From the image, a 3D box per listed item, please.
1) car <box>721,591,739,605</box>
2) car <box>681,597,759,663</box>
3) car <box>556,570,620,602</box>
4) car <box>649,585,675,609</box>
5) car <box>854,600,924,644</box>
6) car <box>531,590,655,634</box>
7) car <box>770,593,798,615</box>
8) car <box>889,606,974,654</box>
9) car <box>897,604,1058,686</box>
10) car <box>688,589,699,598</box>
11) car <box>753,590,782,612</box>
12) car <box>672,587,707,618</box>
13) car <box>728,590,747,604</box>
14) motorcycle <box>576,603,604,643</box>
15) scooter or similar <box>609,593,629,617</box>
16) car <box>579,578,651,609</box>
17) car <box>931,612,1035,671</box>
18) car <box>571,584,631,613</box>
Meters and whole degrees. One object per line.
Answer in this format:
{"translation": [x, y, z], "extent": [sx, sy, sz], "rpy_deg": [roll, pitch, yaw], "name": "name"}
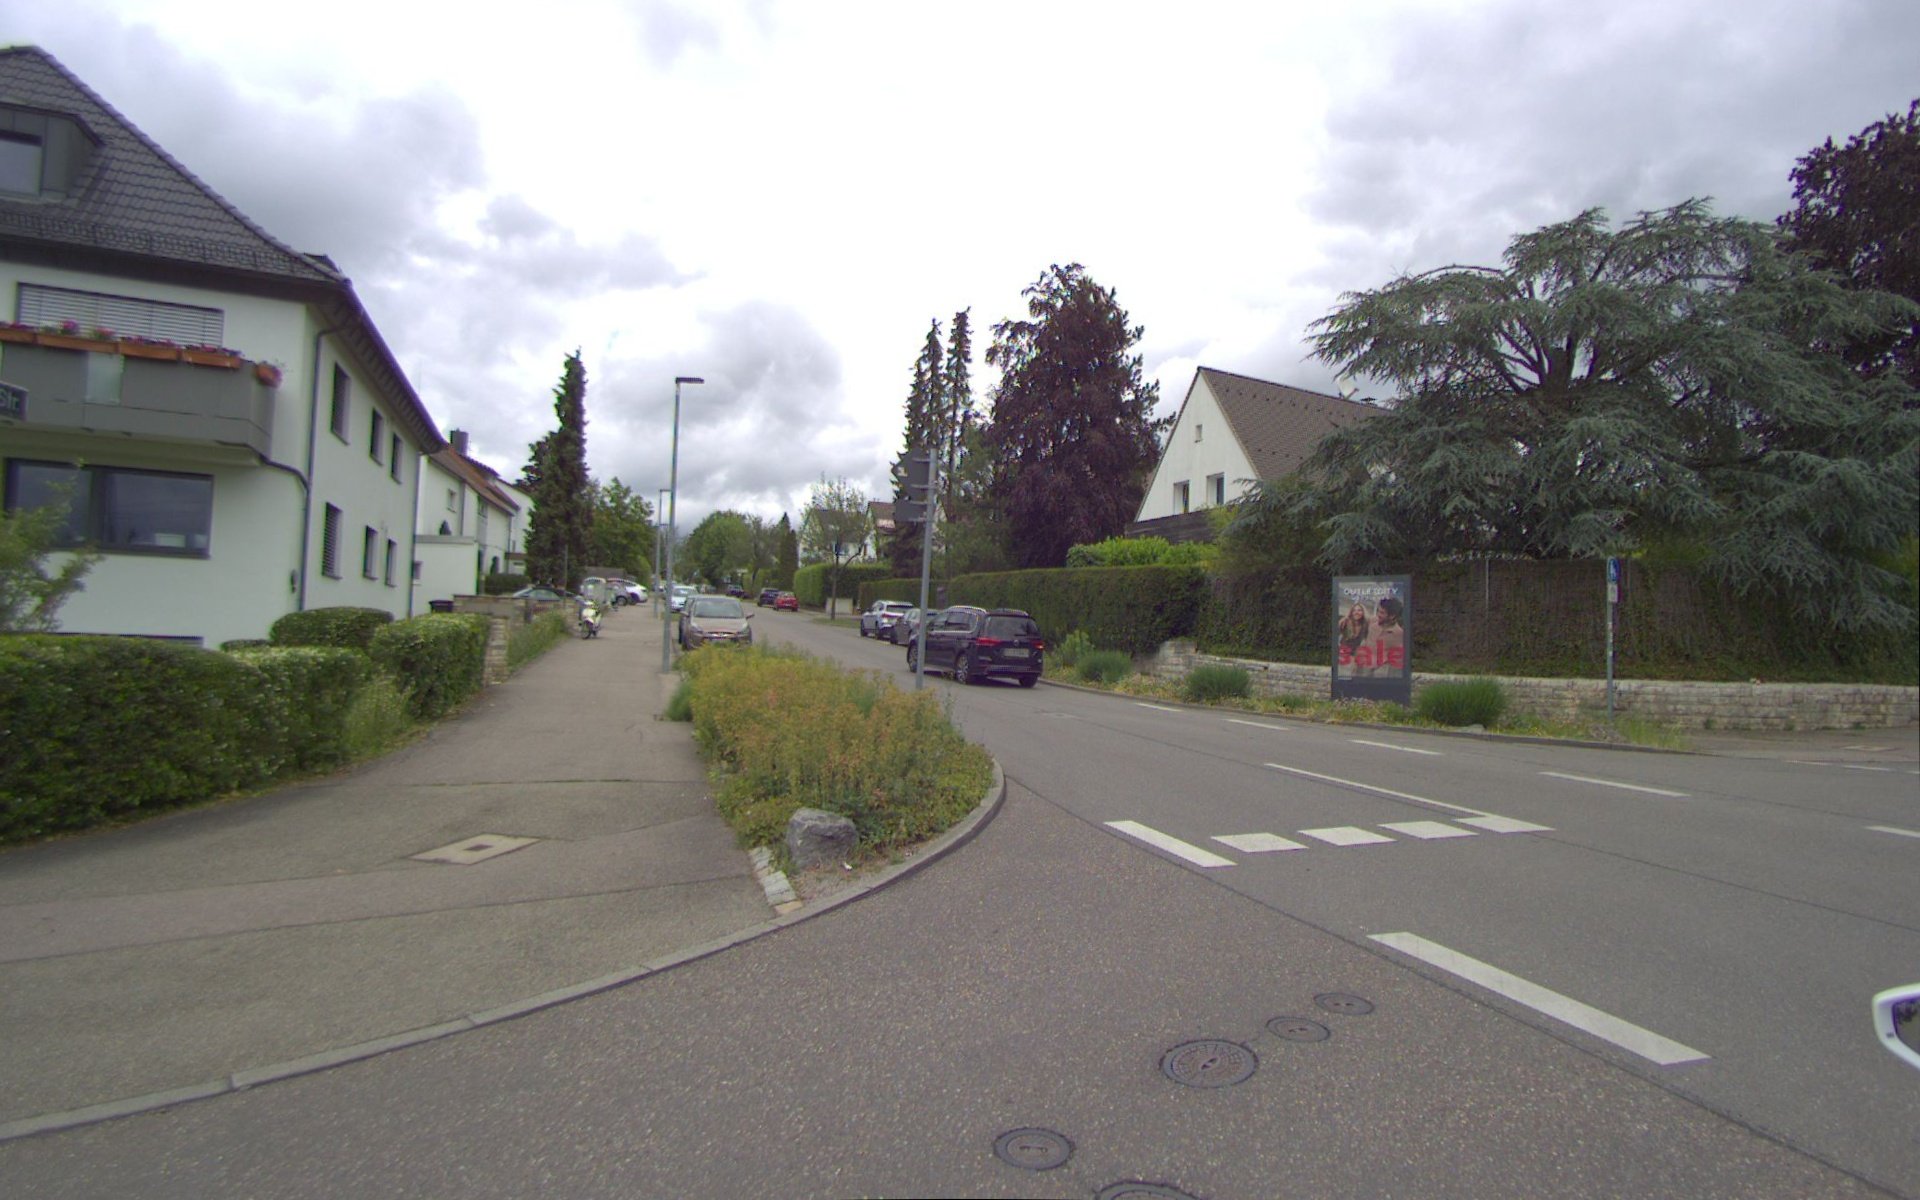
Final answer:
{"translation": [-30.460, -0.254, 133.187], "extent": [1.968, 1.639, 4.497], "rpy_deg": [5, -1, -16], "name": "car"}
{"translation": [-6.755, 0.775, 27.995], "extent": [1.853, 1.606, 3.857], "rpy_deg": [3, 0, -17], "name": "car"}
{"translation": [-22.362, -0.825, 60.473], "extent": [3.385, 1.598, 1.651], "rpy_deg": [5, -2, -16], "name": "car"}
{"translation": [-22.895, -0.240, 77.334], "extent": [1.813, 1.689, 4.393], "rpy_deg": [1, 1, -16], "name": "car"}
{"translation": [-2.998, 0.879, 41.738], "extent": [1.832, 1.603, 4.154], "rpy_deg": [4, -1, -19], "name": "car"}
{"translation": [-13.814, 0.452, 37.895], "extent": [4.239, 1.386, 1.894], "rpy_deg": [3, 0, -23], "name": "car"}
{"translation": [-13.624, 0.308, 77.514], "extent": [1.640, 1.528, 3.744], "rpy_deg": [3, 0, -17], "name": "car"}
{"translation": [-1.096, 1.036, 36.198], "extent": [1.832, 1.483, 4.154], "rpy_deg": [4, -1, -19], "name": "car"}
{"translation": [0.283, 0.993, 22.896], "extent": [1.830, 1.632, 4.282], "rpy_deg": [4, -3, -26], "name": "car"}
{"translation": [-50.793, -1.244, 191.404], "extent": [1.646, 1.521, 3.450], "rpy_deg": [3, 0, -21], "name": "car"}
{"translation": [-16.690, 0.059, 87.104], "extent": [1.968, 1.639, 4.497], "rpy_deg": [5, -1, -16], "name": "car"}
{"translation": [-15.249, 0.126, 56.442], "extent": [1.738, 1.584, 3.841], "rpy_deg": [2, 0, -17], "name": "car"}
{"translation": [-28.401, -0.383, 127.971], "extent": [1.968, 1.639, 4.497], "rpy_deg": [5, -1, -16], "name": "car"}
{"translation": [-11.269, 0.702, 30.619], "extent": [0.423, 1.176, 1.860], "rpy_deg": [2, -1, -9], "name": "motorcycle"}
{"translation": [-17.252, 0.259, 50.863], "extent": [0.466, 1.163, 1.454], "rpy_deg": [5, 0, -1], "name": "scooter or similar"}
{"translation": [-23.125, -0.422, 67.450], "extent": [4.358, 1.650, 1.903], "rpy_deg": [6, -1, -18], "name": "car"}
{"translation": [0.615, 1.210, 30.567], "extent": [1.832, 1.483, 3.983], "rpy_deg": [4, -1, -19], "name": "car"}
{"translation": [-22.700, -0.087, 63.648], "extent": [3.385, 1.532, 1.687], "rpy_deg": [5, -2, -16], "name": "car"}
